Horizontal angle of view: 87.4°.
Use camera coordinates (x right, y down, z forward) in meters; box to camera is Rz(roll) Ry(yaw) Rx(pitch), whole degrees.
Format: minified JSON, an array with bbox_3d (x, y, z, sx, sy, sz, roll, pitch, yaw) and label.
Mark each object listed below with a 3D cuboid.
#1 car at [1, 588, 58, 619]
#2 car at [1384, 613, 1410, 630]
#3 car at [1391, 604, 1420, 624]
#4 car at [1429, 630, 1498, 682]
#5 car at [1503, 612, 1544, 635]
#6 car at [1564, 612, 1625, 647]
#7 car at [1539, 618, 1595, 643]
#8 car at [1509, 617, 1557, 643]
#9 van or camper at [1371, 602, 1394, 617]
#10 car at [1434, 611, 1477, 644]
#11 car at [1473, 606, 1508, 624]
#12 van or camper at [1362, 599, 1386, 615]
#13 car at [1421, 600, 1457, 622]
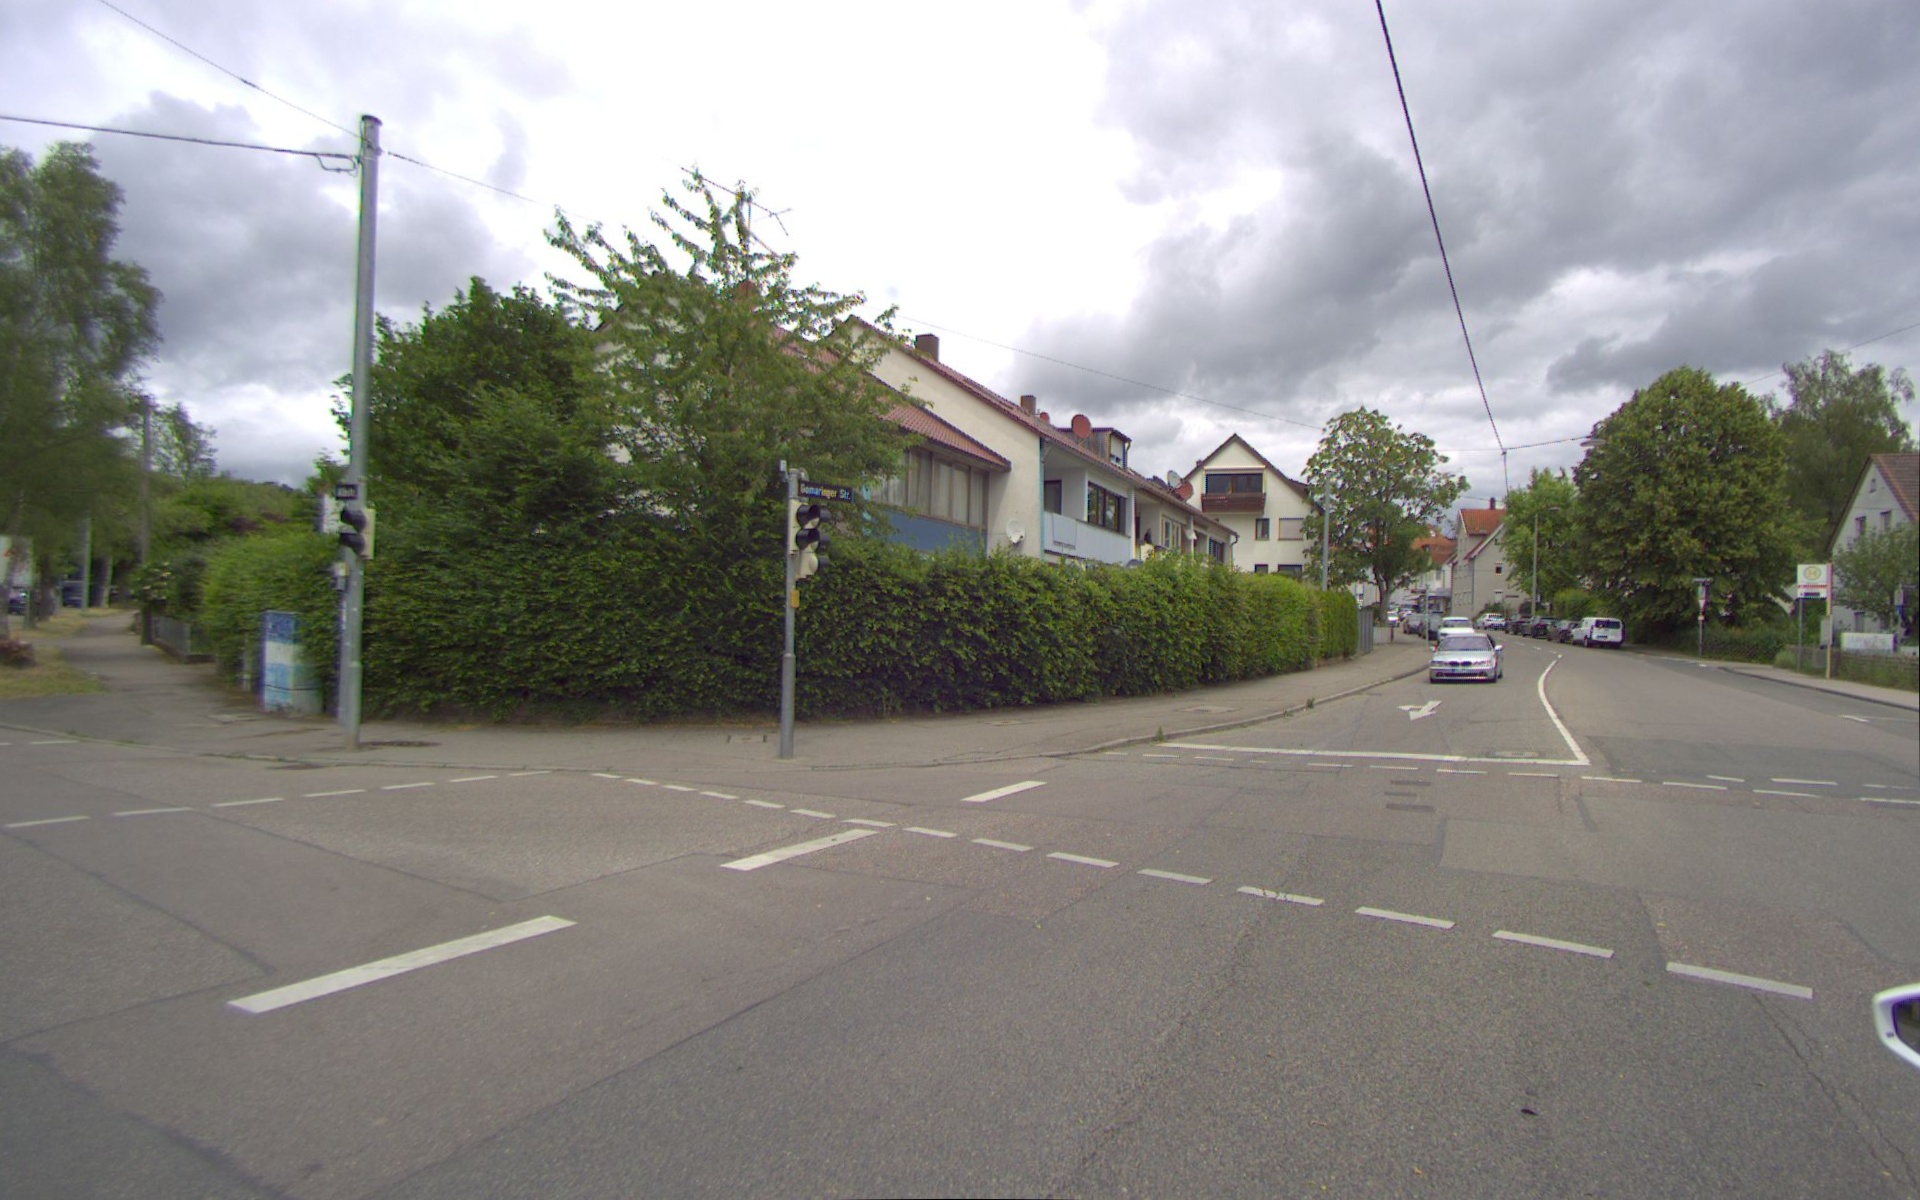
[{"bbox_3d":[-57.976,0.200,62.647,1.958,1.630,4.373,5,-1,-36],"label":"car"},{"bbox_3d":[40.725,1.987,93.667,1.697,1.477,3.900,-2,-1,15],"label":"car"},{"bbox_3d":[49.911,1.549,112.656,2.115,2.040,4.002,3,1,12],"label":"car"},{"bbox_3d":[14.677,1.592,29.432,1.686,1.372,4.080,0,-1,25],"label":"car"},{"bbox_3d":[43.433,1.789,77.499,1.780,1.637,4.540,3,1,17],"label":"car"},{"bbox_3d":[37.820,1.709,60.018,1.807,1.798,4.318,4,2,15],"label":"car"},{"bbox_3d":[39.533,1.953,65.523,1.960,1.498,4.621,1,0,17],"label":"car"},{"bbox_3d":[41.023,2.127,71.984,1.960,1.637,4.540,3,1,17],"label":"car"},{"bbox_3d":[57.211,1.215,136.094,1.839,1.853,4.682,3,1,12],"label":"van or camper"},{"bbox_3d":[27.403,1.513,55.627,1.820,1.737,4.573,0,-1,22],"label":"car"},{"bbox_3d":[46.618,1.291,88.334,1.908,1.458,4.001,2,1,17],"label":"car"},{"bbox_3d":[59.228,0.940,143.745,1.960,2.093,5.947,4,1,12],"label":"van or camper"},{"bbox_3d":[46.282,1.028,97.189,2.115,2.040,4.002,3,1,12],"label":"car"}]
